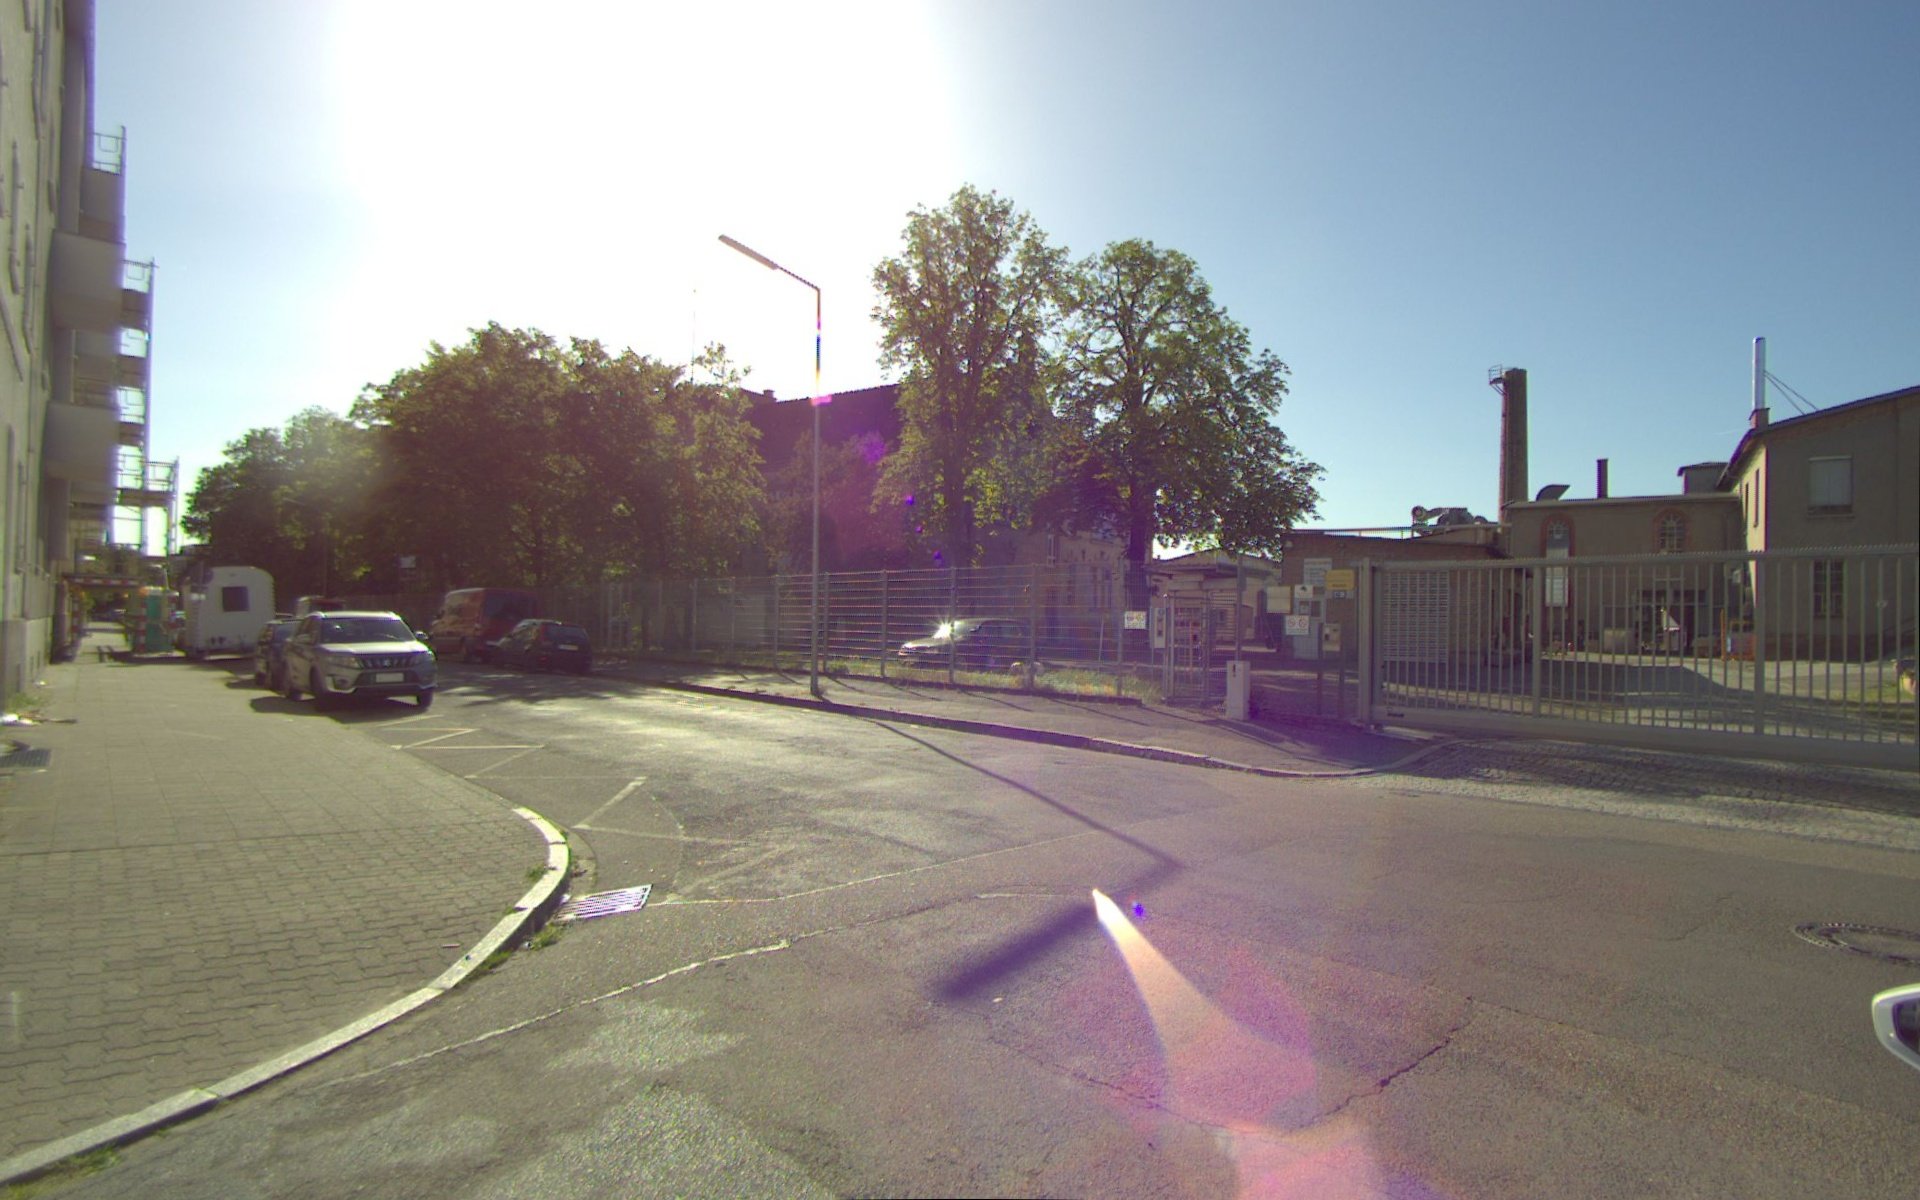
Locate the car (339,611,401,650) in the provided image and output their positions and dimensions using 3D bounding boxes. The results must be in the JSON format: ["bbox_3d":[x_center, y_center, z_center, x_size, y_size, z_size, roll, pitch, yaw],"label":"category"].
[{"bbox_3d":[-27.379,1.414,46.566,1.641,1.706,3.950,2,-2,-42],"label":"car"}]

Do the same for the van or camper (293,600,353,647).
[{"bbox_3d":[-35.510,1.295,55.931,2.112,2.532,3.950,2,-2,-42],"label":"van or camper"}]

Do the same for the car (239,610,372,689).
[{"bbox_3d":[-14.671,1.044,22.444,1.864,1.573,3.950,2,-1,-42],"label":"car"}]

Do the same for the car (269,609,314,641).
[{"bbox_3d":[-44.871,1.680,67.375,1.985,2.040,3.952,3,-2,-41],"label":"car"}]

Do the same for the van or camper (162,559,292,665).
[{"bbox_3d":[-25.143,0.477,34.340,2.938,3.221,6.099,4,-3,-41],"label":"van or camper"}]

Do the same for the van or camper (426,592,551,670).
[{"bbox_3d":[-15.305,0.943,32.439,2.197,2.311,5.244,2,-1,-42],"label":"van or camper"}]

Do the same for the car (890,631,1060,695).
[{"bbox_3d":[0.425,1.538,25.021,3.972,1.439,1.975,3,-2,-43],"label":"car"}]

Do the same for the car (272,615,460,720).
[{"bbox_3d":[-10.445,1.086,17.551,2.056,1.573,3.950,2,-1,-42],"label":"car"}]

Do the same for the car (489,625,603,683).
[{"bbox_3d":[-11.503,1.435,27.788,1.641,1.435,3.950,2,-1,-42],"label":"car"}]
